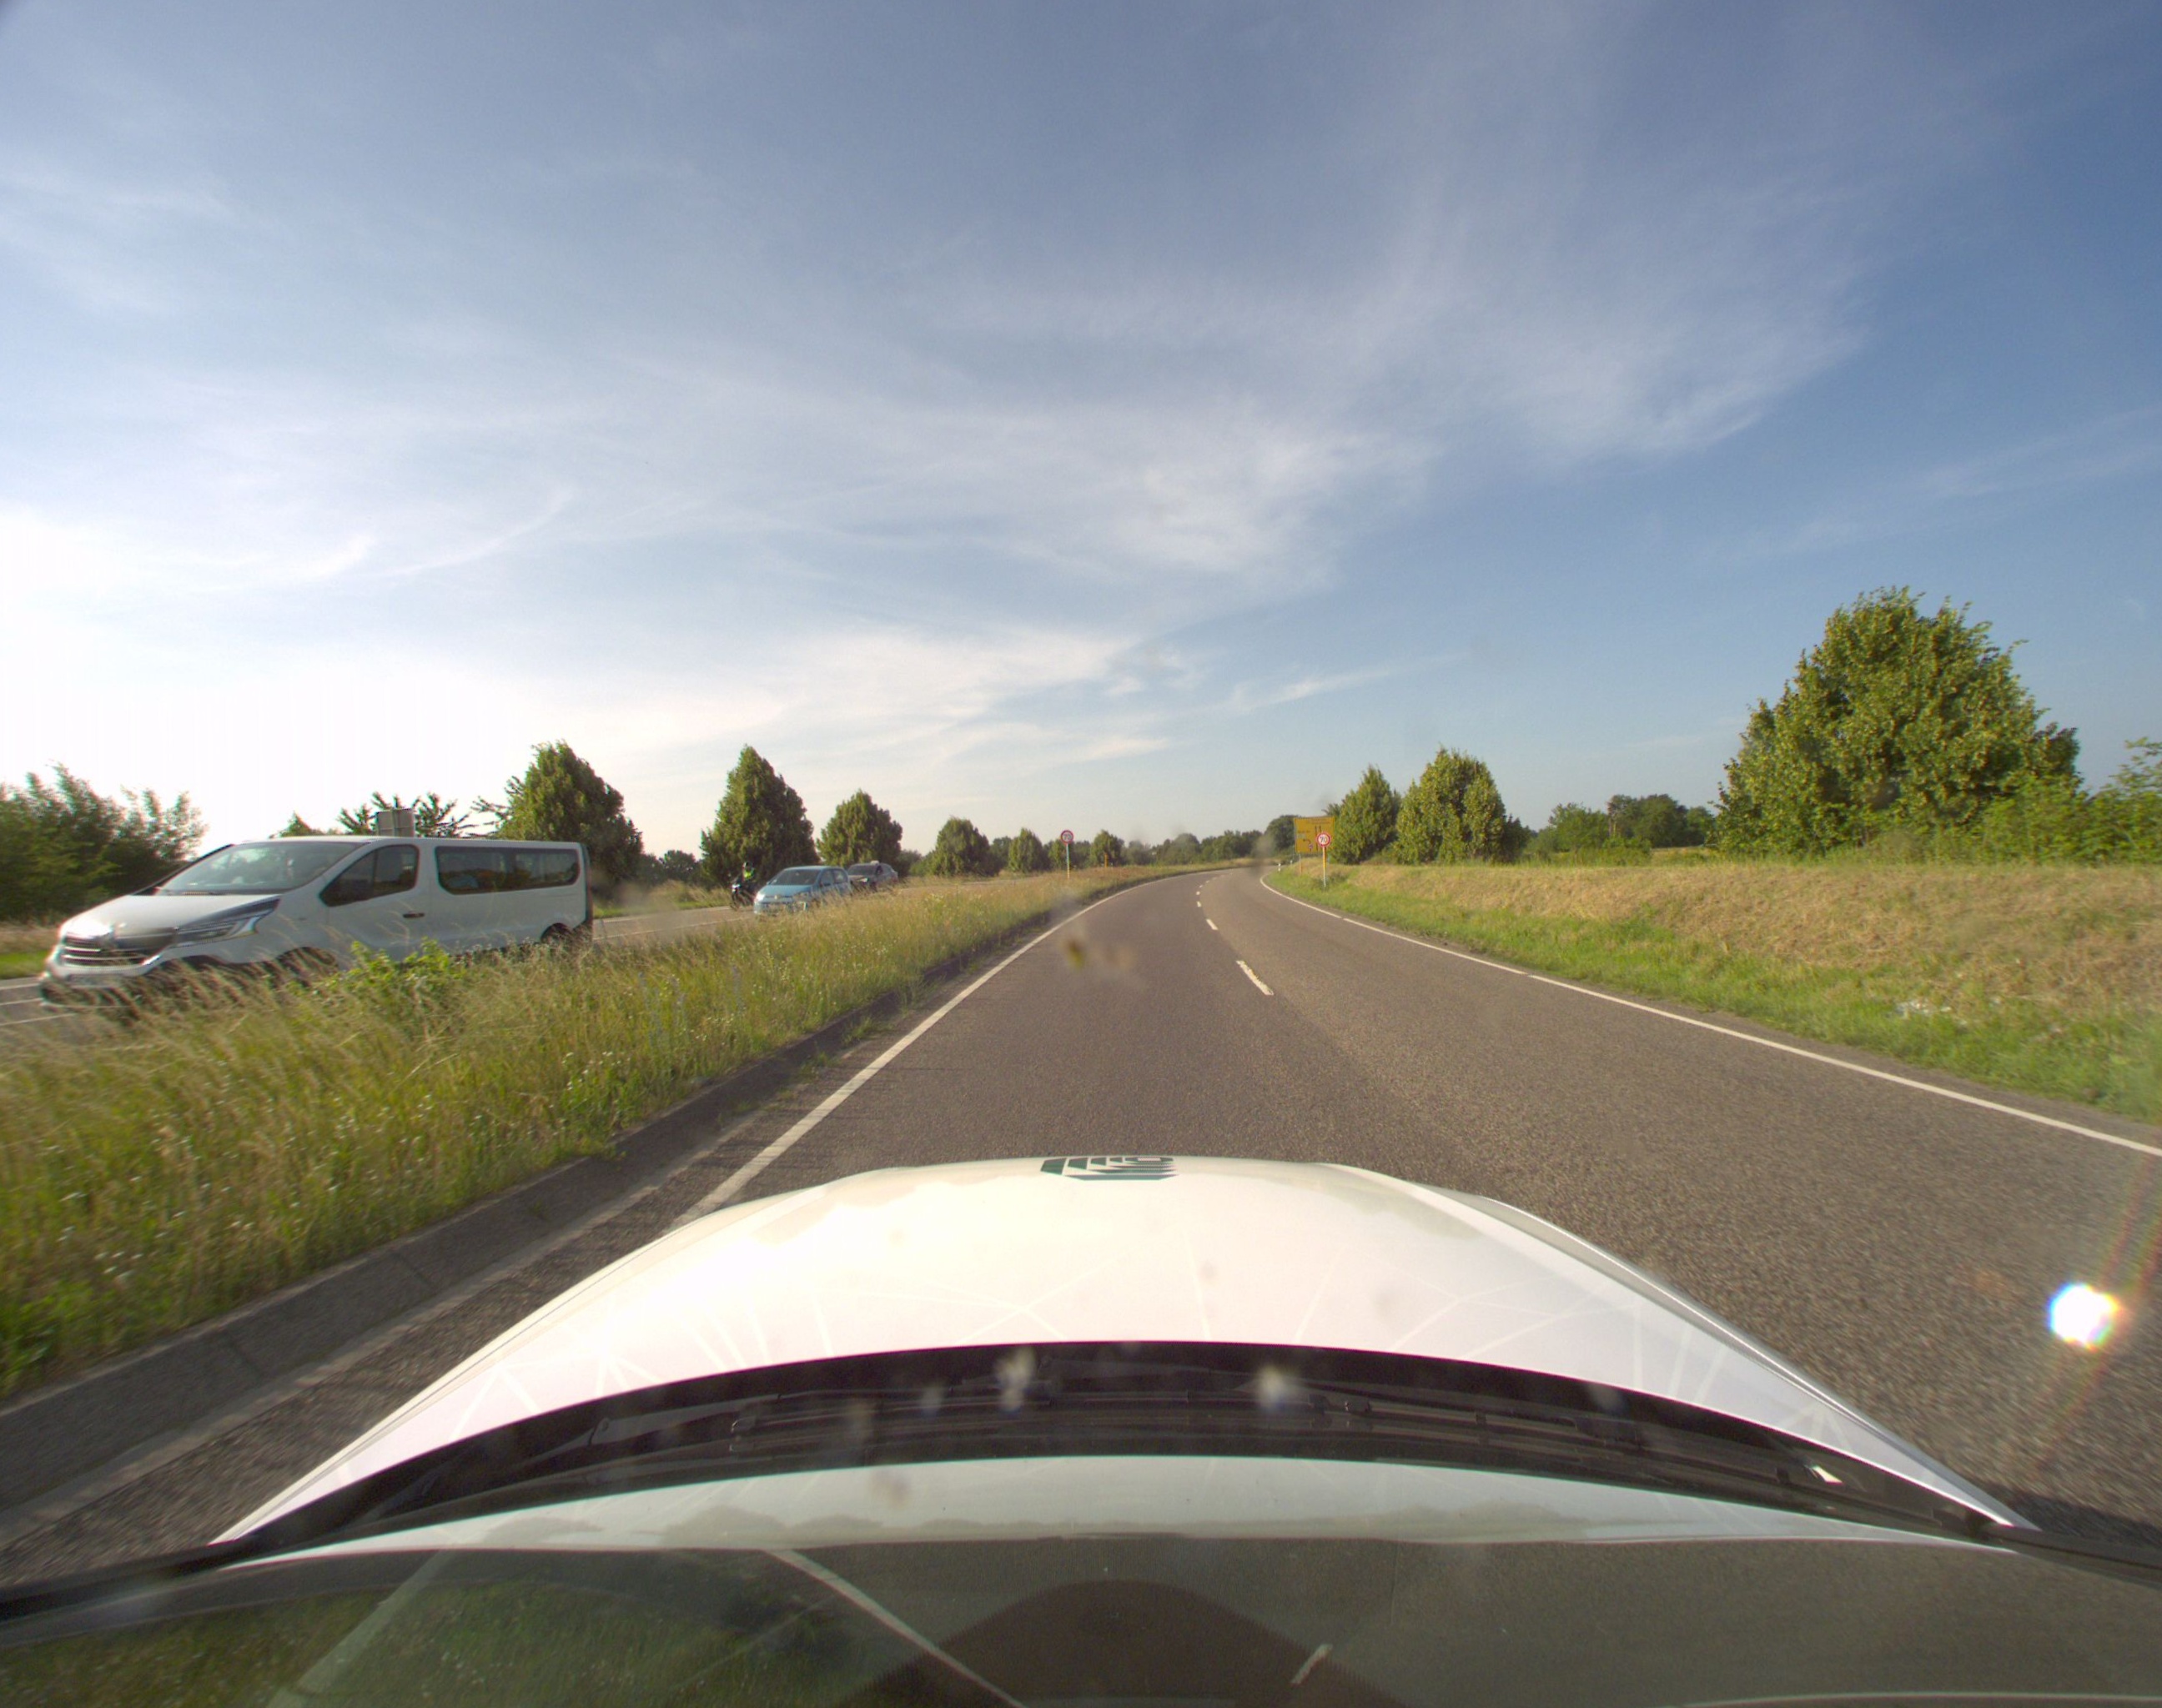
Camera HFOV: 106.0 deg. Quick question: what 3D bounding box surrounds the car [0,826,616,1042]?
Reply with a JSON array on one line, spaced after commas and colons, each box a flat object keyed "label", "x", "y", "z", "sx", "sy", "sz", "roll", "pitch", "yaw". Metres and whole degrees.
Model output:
[{"label": "car", "x": -8.648, "y": 0.751, "z": 10.145, "sx": 1.984, "sy": 1.904, "sz": 5.796, "roll": -1, "pitch": -1, "yaw": 5}]

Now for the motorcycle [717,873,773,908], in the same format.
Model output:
[{"label": "motorcycle", "x": -11.412, "y": 1.231, "z": 27.782, "sx": 0.748, "sy": 1.093, "sz": 2.312, "roll": -1, "pitch": -1, "yaw": 6}]

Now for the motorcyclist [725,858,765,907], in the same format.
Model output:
[{"label": "motorcyclist", "x": -11.429, "y": 0.954, "z": 27.754, "sx": 0.748, "sy": 1.604, "sz": 1.251, "roll": -1, "pitch": -1, "yaw": 6}]

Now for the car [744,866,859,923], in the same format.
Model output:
[{"label": "car", "x": -7.775, "y": 1.073, "z": 23.035, "sx": 1.670, "sy": 1.443, "sz": 3.757, "roll": -1, "pitch": -1, "yaw": 5}]

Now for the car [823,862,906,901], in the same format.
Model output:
[{"label": "car", "x": -9.461, "y": 1.159, "z": 36.037, "sx": 1.902, "sy": 1.565, "sz": 4.620, "roll": -1, "pitch": -1, "yaw": 7}]
